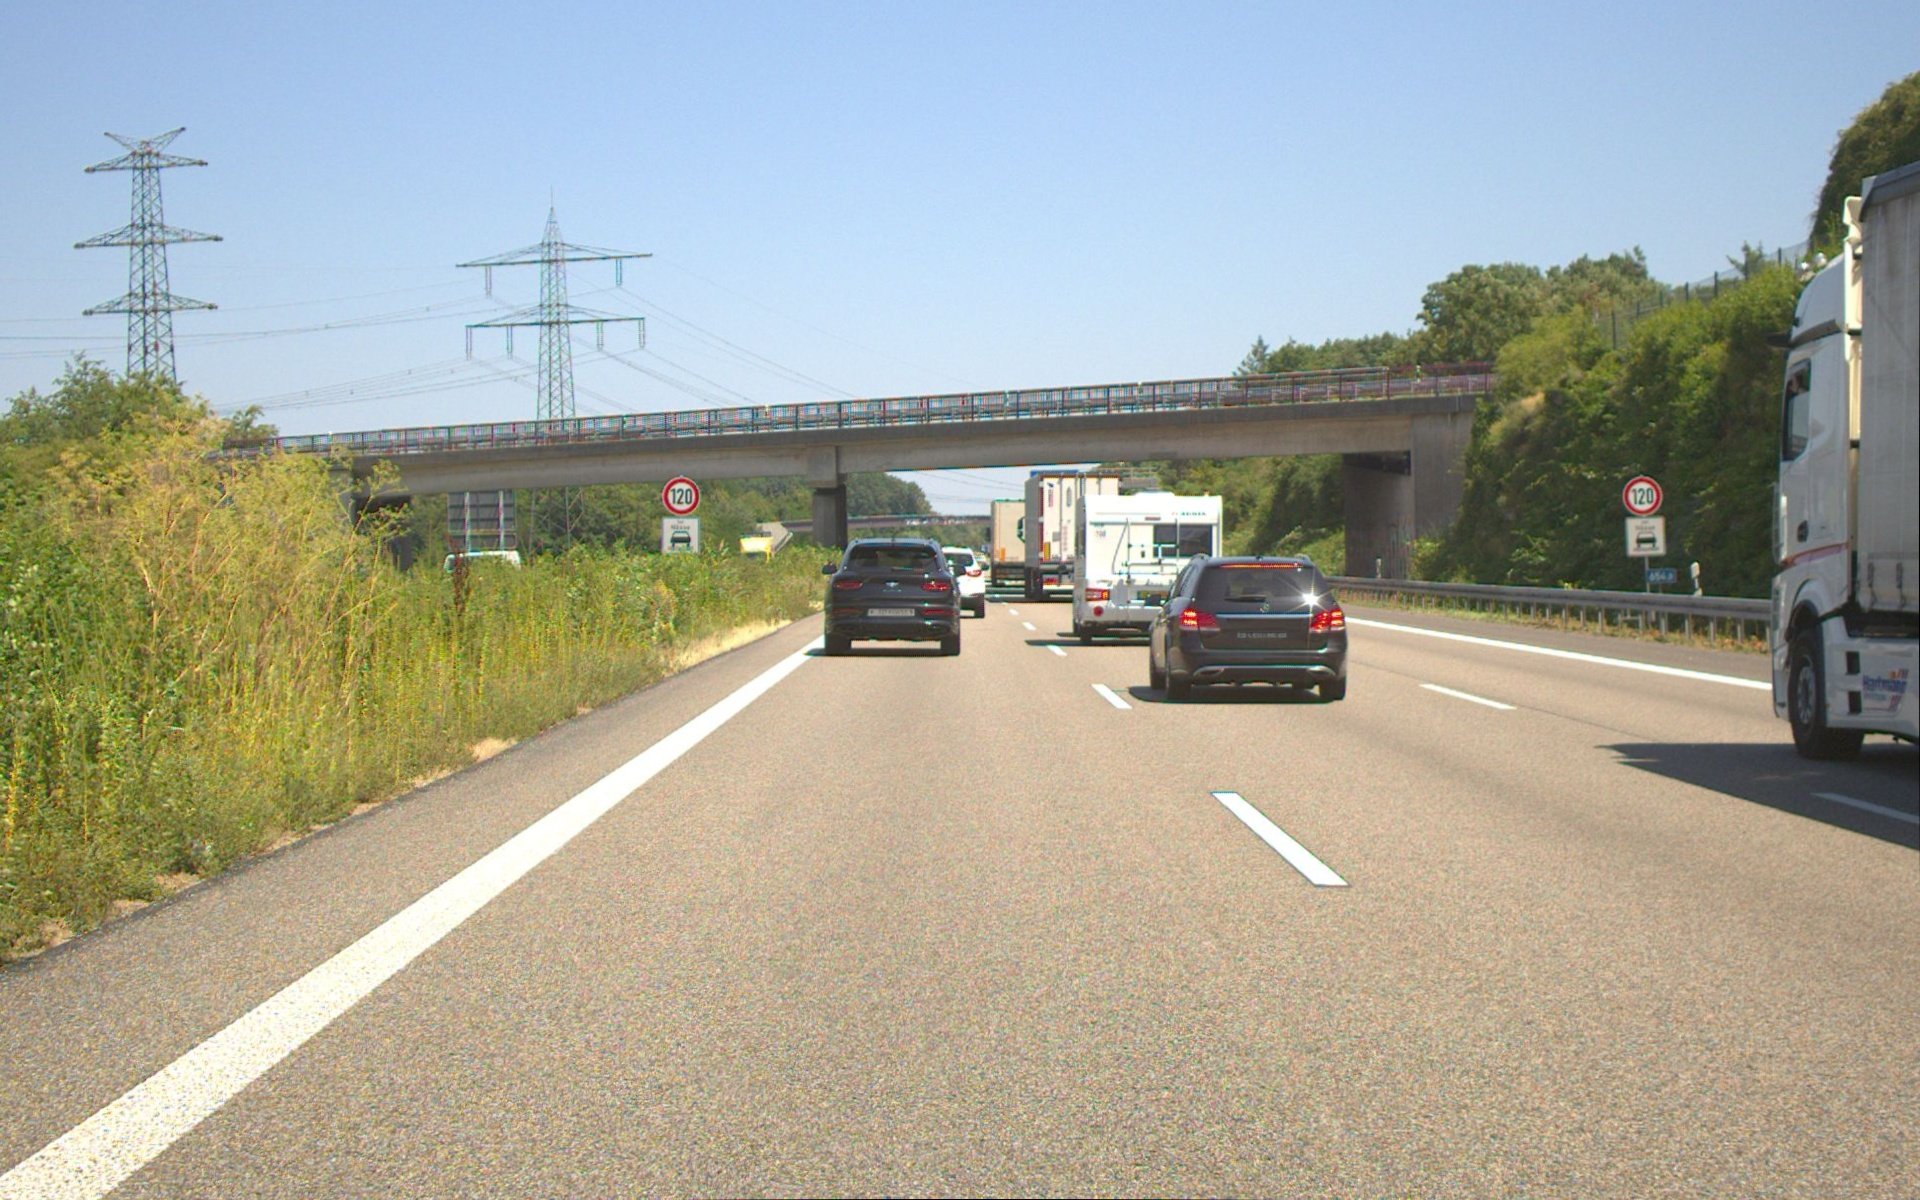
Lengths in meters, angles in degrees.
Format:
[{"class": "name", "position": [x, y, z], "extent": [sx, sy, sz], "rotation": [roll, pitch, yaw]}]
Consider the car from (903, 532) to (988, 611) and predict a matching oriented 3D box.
[{"class": "car", "position": [-0.363, -0.701, 81.985], "extent": [1.961, 1.808, 4.449], "rotation": [-1, 1, -1]}]

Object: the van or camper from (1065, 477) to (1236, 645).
[{"class": "van or camper", "position": [3.152, -0.681, 58.389], "extent": [2.439, 2.665, 6.350], "rotation": [-1, 1, -1]}]

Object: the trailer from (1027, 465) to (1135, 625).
[{"class": "trailer", "position": [3.814, -1.737, 111.443], "extent": [3.087, 4.868, 12.258], "rotation": [1, 0, 0]}]

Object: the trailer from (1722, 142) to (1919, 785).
[{"class": "trailer", "position": [7.440, -0.899, 23.874], "extent": [2.713, 4.088, 6.789], "rotation": [0, 1, -1]}]

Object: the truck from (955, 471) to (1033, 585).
[{"class": "truck", "position": [1.598, -3.344, 161.438], "extent": [3.512, 5.149, 10.258], "rotation": [0, 1, 0]}]

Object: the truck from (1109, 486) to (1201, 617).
[{"class": "truck", "position": [7.498, -1.863, 133.223], "extent": [3.087, 4.868, 8.798], "rotation": [1, 0, 0]}]

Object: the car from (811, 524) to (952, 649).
[{"class": "car", "position": [-1.141, -0.228, 51.203], "extent": [1.993, 1.766, 4.000], "rotation": [-1, 1, -1]}]

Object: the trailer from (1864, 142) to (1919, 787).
[{"class": "trailer", "position": [7.523, -0.789, 16.522], "extent": [2.728, 4.088, 13.190], "rotation": [0, 1, -1]}]

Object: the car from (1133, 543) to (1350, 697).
[{"class": "car", "position": [2.906, 0.160, 36.374], "extent": [1.841, 1.500, 4.738], "rotation": [-1, 1, -1]}]
